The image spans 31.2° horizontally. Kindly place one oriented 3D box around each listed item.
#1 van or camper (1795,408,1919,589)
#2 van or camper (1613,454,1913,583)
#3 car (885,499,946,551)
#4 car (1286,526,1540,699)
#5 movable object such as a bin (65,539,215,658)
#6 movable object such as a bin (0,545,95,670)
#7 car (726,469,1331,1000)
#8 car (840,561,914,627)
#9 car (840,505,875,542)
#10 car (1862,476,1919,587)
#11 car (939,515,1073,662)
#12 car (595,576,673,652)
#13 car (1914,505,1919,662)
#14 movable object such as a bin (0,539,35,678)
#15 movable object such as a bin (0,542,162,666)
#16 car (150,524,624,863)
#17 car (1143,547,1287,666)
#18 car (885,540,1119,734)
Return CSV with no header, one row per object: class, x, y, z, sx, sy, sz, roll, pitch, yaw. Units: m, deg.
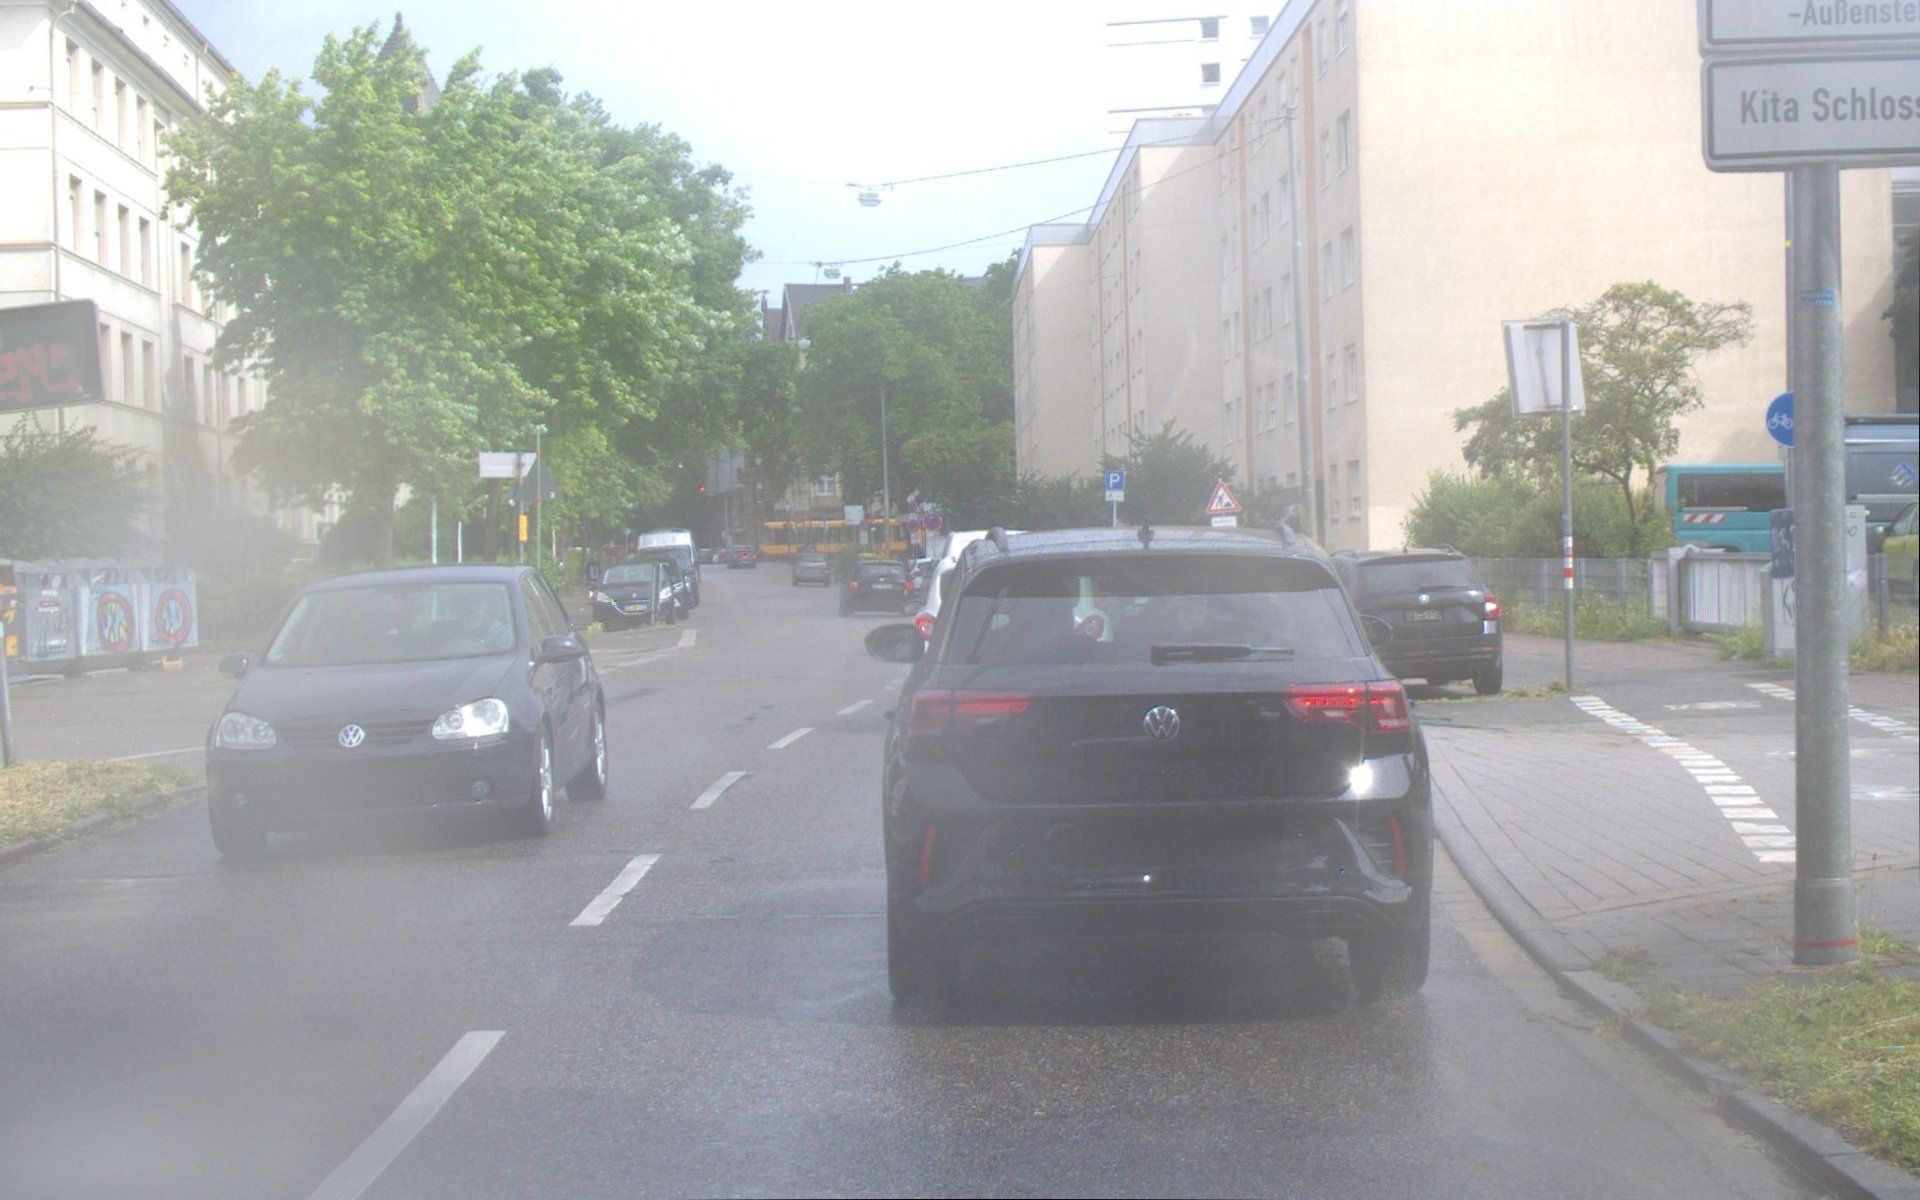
van or camper,14.871,-1.470,49.830,4.998,2.546,2.175,-1,0,1
van or camper,14.020,-1.432,60.287,4.760,2.124,2.321,-1,1,4
car,-1.466,-2.481,113.954,1.841,1.602,3.675,-3,1,1
car,4.493,0.081,34.705,1.774,1.534,4.378,-4,1,-2
movable object such as a bin,-12.031,-0.034,50.497,1.539,1.656,1.457,-1,2,19
movable object such as a bin,-13.056,0.106,47.421,1.539,1.650,1.526,-1,2,19
car,0.198,0.410,12.759,1.873,1.640,4.062,1,0,0
car,-2.071,-0.168,85.464,1.604,1.505,3.548,-3,1,-4
car,-5.279,-3.919,176.853,1.665,1.831,4.001,-2,1,-2
car,13.349,-0.941,46.299,1.611,1.444,3.416,-2,1,3
car,0.650,-0.162,51.508,1.836,2.096,4.000,1,0,-1
car,-7.068,0.280,74.782,1.585,1.500,4.065,-3,1,-5
car,11.510,-0.175,36.239,1.804,1.744,4.238,-2,1,2
movable object such as a bin,-13.401,0.136,45.881,1.539,1.818,1.262,-1,2,19
movable object such as a bin,-12.529,0.046,48.982,1.539,1.668,1.664,-1,2,19
car,-3.046,0.434,19.106,1.841,1.602,4.000,-3,1,1
car,3.393,0.099,46.292,1.757,1.522,4.000,0,0,2
car,0.317,0.285,28.931,1.813,1.498,4.000,1,0,0
